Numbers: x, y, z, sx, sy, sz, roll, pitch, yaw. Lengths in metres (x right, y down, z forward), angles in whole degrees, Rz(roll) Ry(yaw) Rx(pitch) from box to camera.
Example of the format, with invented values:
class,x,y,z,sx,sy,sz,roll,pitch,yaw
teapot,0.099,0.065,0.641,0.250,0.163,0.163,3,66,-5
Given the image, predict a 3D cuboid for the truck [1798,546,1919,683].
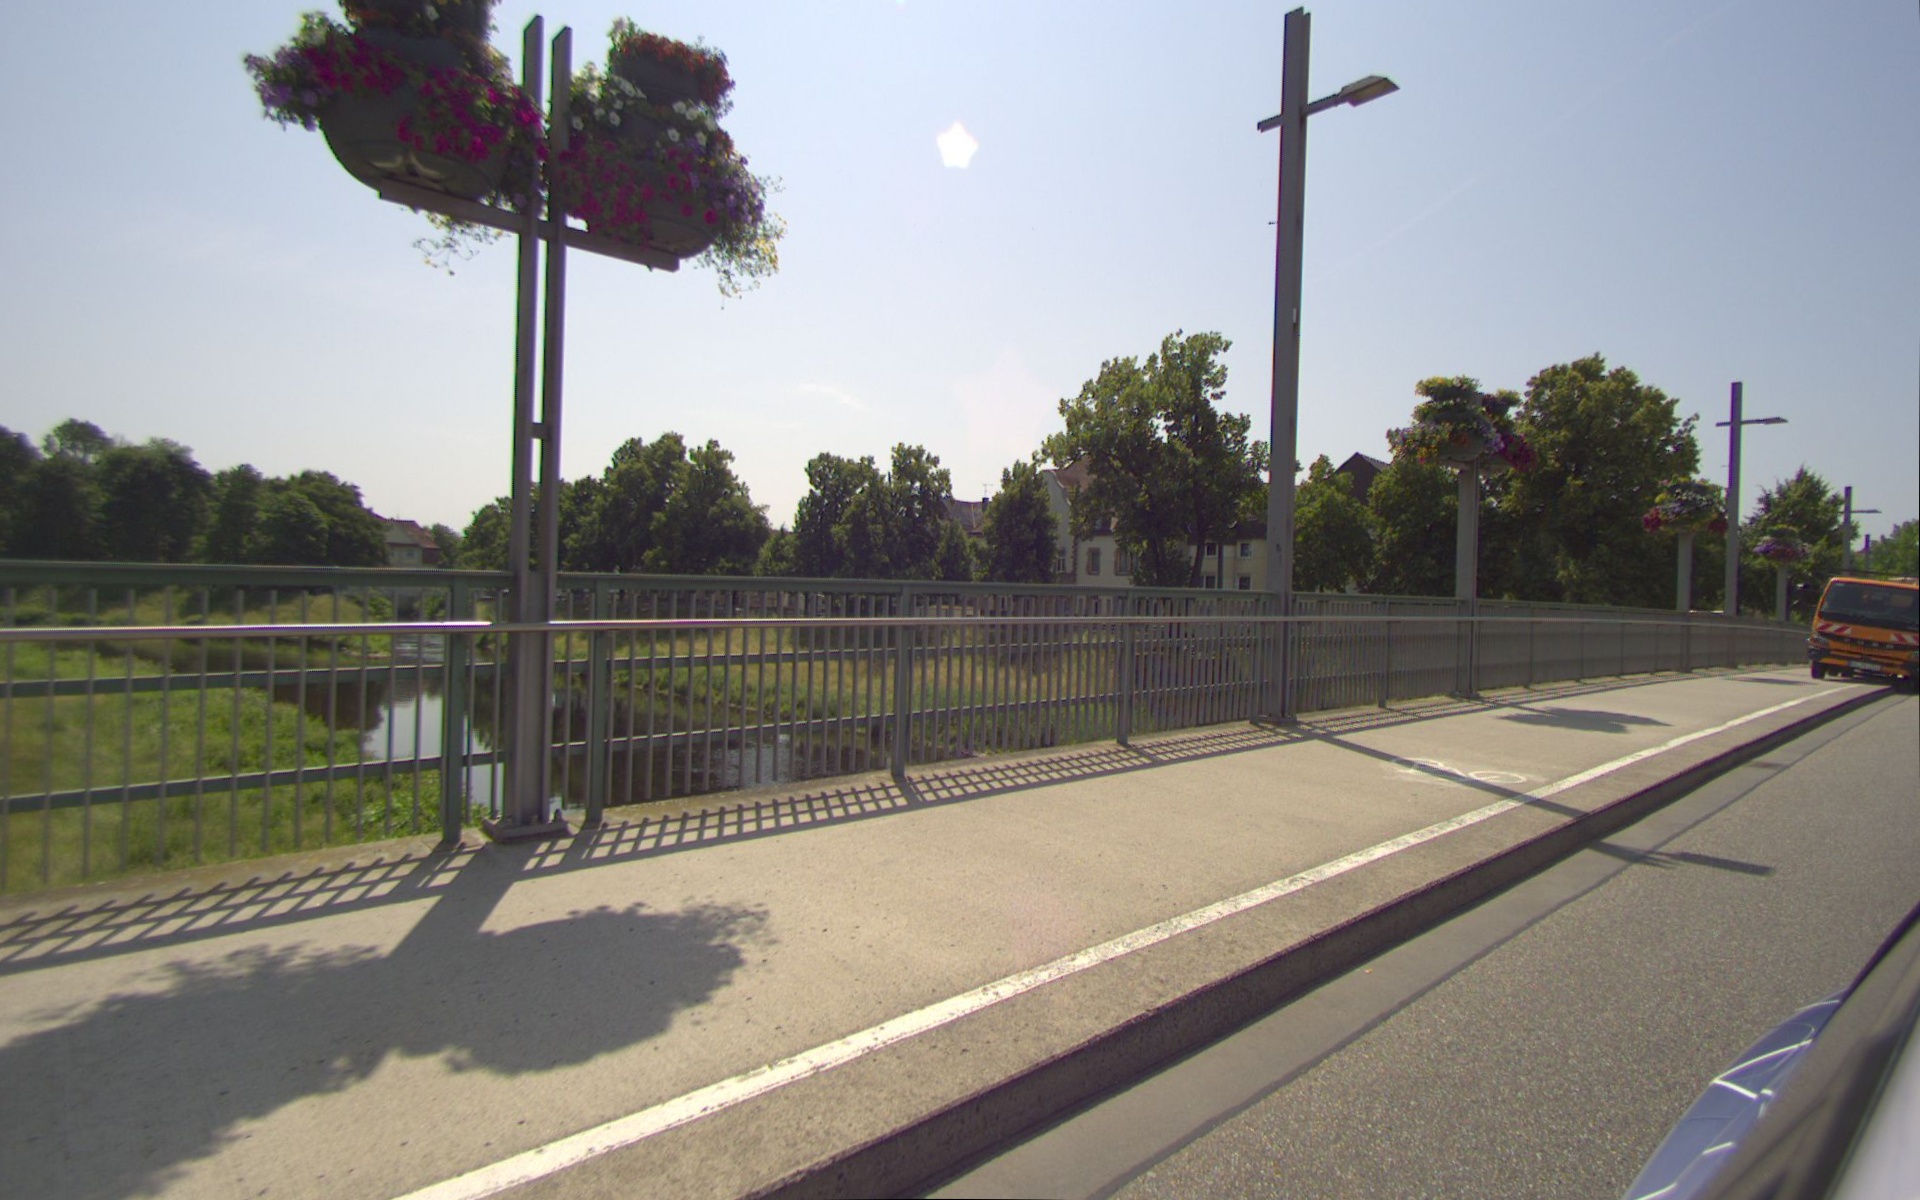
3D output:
class,x,y,z,sx,sy,sz,roll,pitch,yaw
truck,20.758,0.344,22.364,5.722,2.725,2.610,2,0,-42
